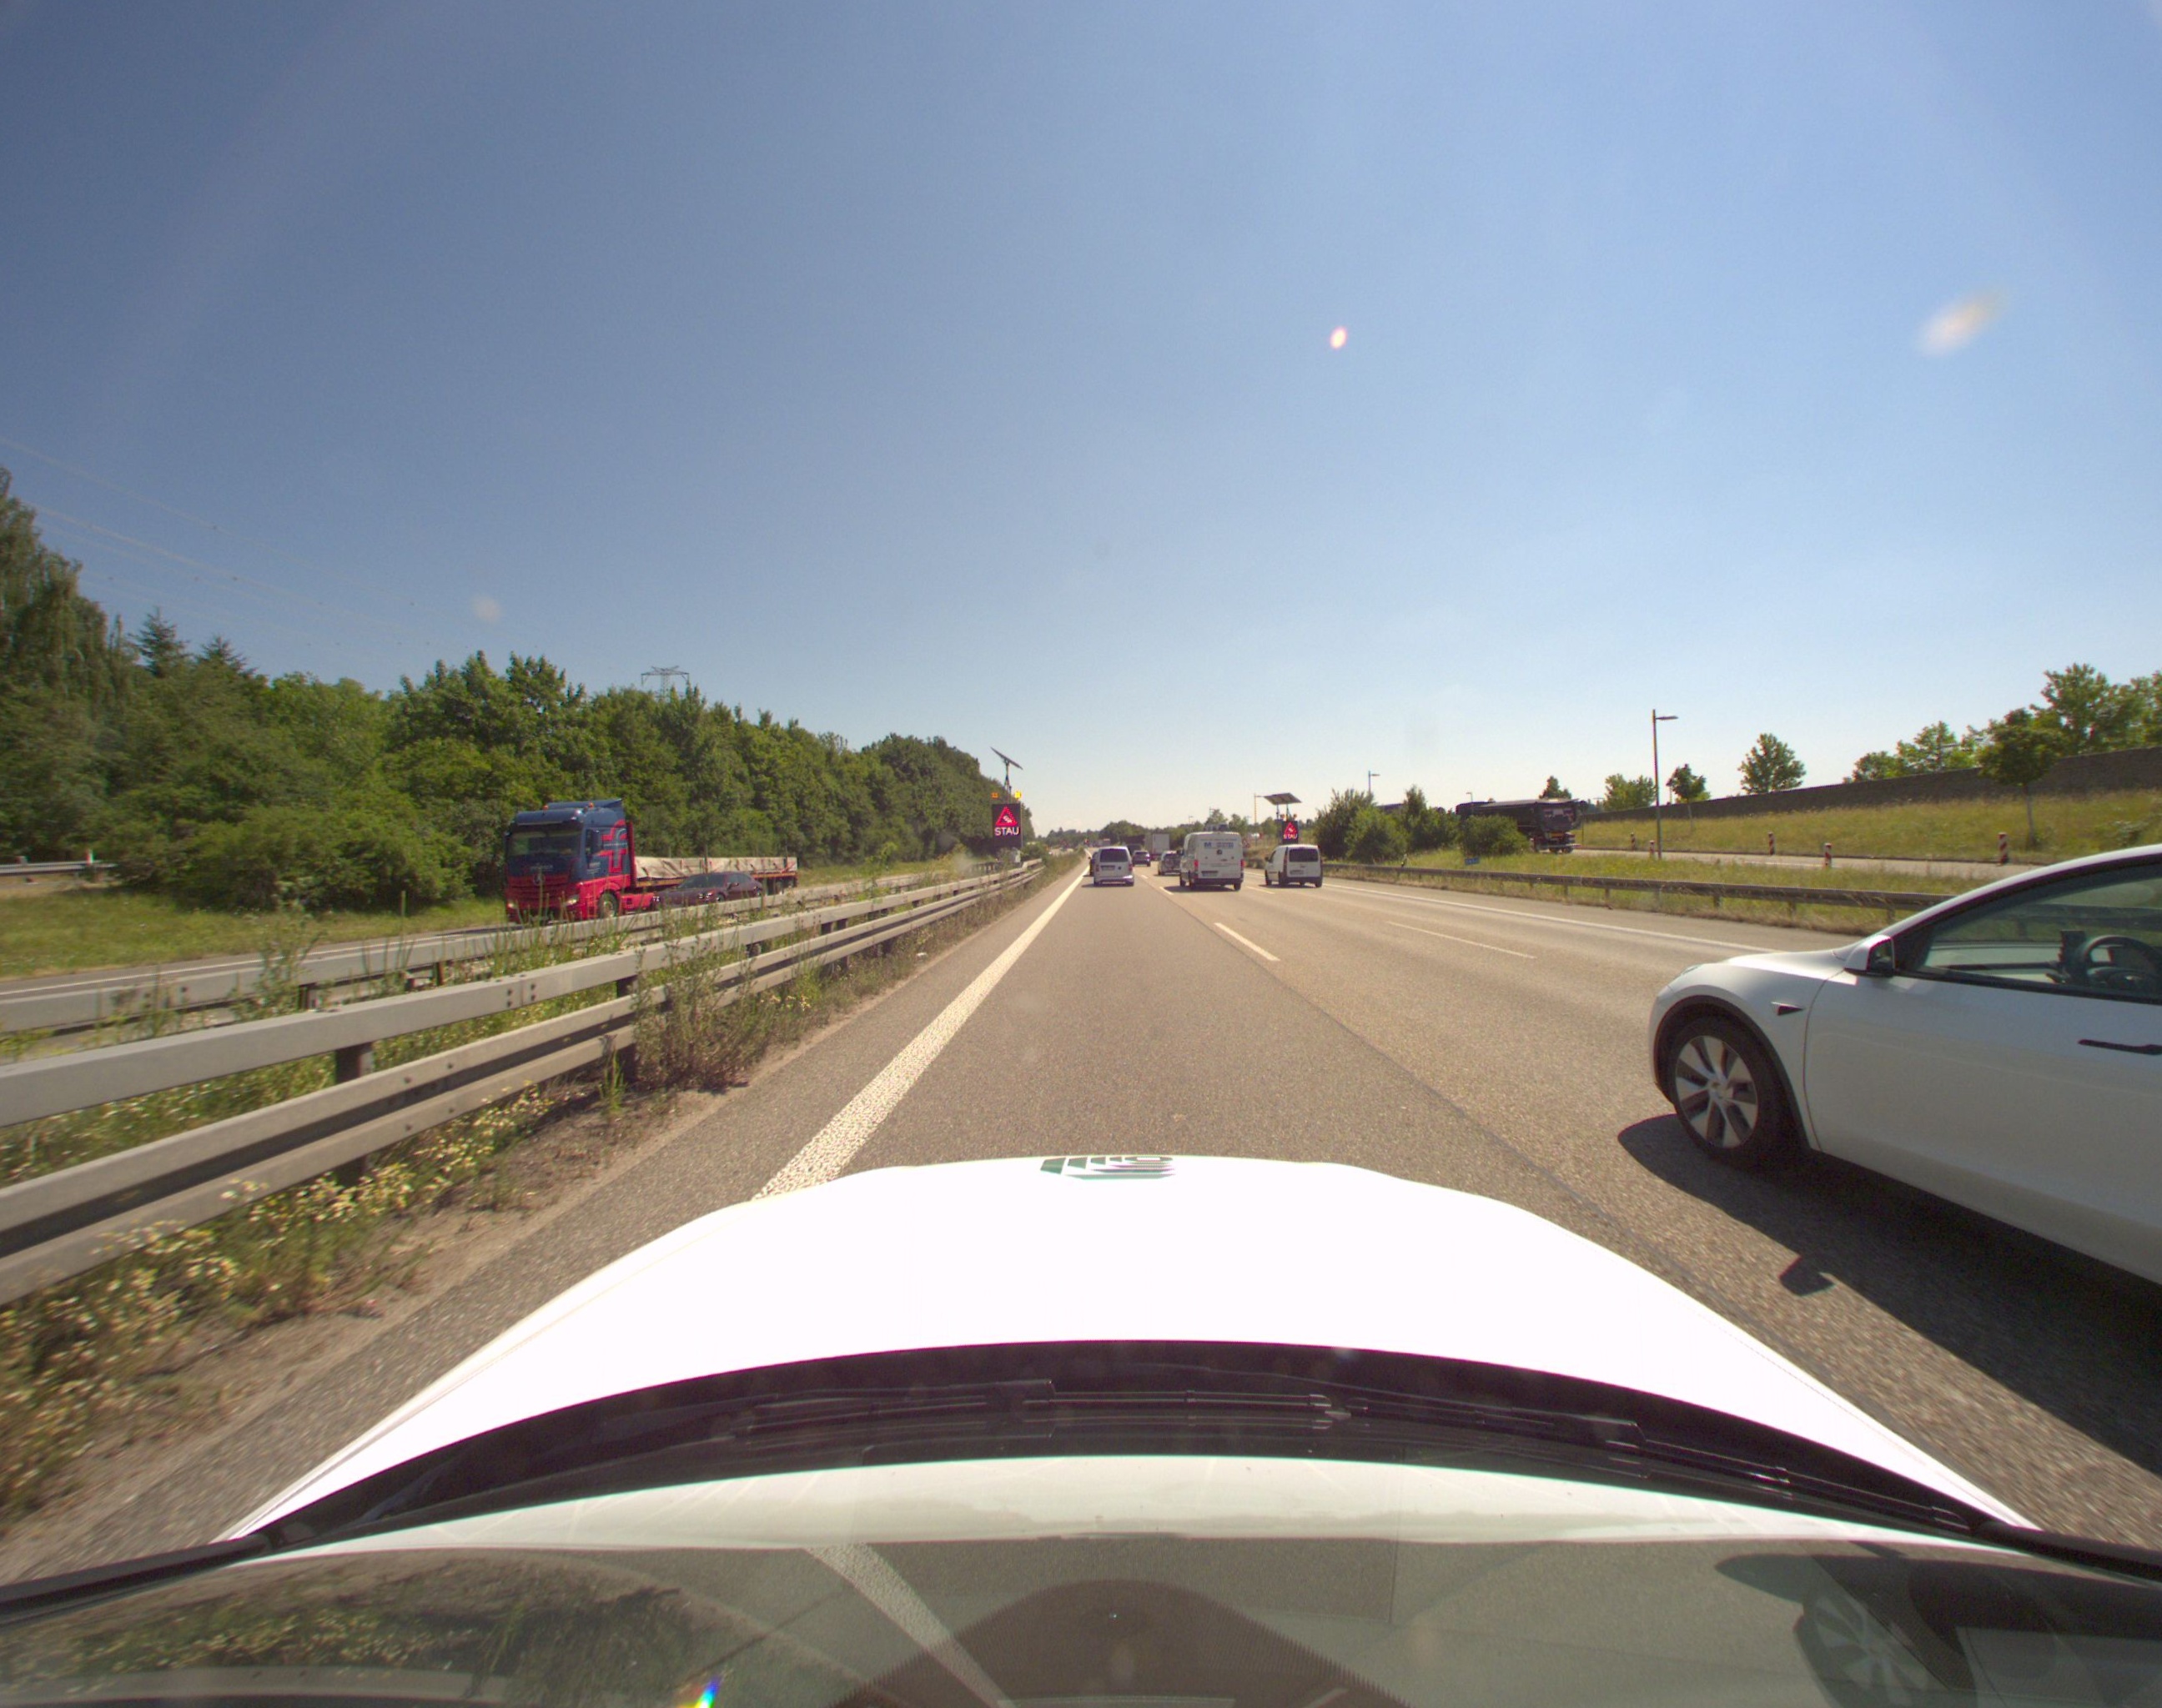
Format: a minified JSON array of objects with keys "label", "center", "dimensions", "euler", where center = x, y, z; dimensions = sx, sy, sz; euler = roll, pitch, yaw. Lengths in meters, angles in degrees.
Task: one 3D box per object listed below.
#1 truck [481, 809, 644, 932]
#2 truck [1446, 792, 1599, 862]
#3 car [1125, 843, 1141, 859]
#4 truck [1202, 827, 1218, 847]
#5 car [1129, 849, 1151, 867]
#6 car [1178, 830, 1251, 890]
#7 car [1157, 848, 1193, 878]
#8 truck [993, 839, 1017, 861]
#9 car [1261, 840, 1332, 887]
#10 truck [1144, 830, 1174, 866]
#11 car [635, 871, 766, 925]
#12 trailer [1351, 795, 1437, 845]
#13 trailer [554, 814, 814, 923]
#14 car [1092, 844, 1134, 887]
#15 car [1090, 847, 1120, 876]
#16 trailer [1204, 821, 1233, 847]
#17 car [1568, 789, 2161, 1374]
[{"label":"truck","center":[-16.174,0.483,25.658],"dimensions":[2.985,3.558,3.119],"euler":[-2,0,1]},{"label":"truck","center":[28.565,-1.553,53.761],"dimensions":[3.773,4.083,12.525],"euler":[0,0,2]},{"label":"car","center":[6.199,-0.359,97.473],"dimensions":[1.668,1.891,4.091],"euler":[-2,0,2]},{"label":"truck","center":[25.193,-3.392,159.380],"dimensions":[2.593,3.827,4.000],"euler":[0,0,1]},{"label":"car","center":[5.742,0.397,79.665],"dimensions":[1.894,1.672,4.091],"euler":[-2,0,2]},{"label":"car","center":[5.371,0.227,33.481],"dimensions":[2.174,2.254,5.363],"euler":[0,0,1]},{"label":"car","center":[5.885,0.539,51.479],"dimensions":[1.968,1.733,4.091],"euler":[-2,0,2]},{"label":"truck","center":[-13.681,-0.648,147.817],"dimensions":[2.985,3.802,10.792],"euler":[-2,0,1]},{"label":"car","center":[9.231,0.404,35.263],"dimensions":[1.944,1.838,4.178],"euler":[-2,0,0]},{"label":"truck","center":[11.455,-0.833,120.076],"dimensions":[3.773,5.000,12.526],"euler":[0,0,3]},{"label":"car","center":[-11.785,1.311,25.651],"dimensions":[1.764,1.334,4.920],"euler":[-3,0,0]},{"label":"trailer","center":[29.511,-3.031,77.847],"dimensions":[3.041,4.083,14.260],"euler":[0,0,1]},{"label":"trailer","center":[-15.938,0.483,35.290],"dimensions":[2.985,3.558,16.027],"euler":[-2,0,1]},{"label":"car","center":[1.473,0.498,37.242],"dimensions":[1.738,1.764,4.091],"euler":[-2,0,2]},{"label":"car","center":[1.530,0.440,51.340],"dimensions":[1.738,1.701,4.091],"euler":[-2,0,3]},{"label":"trailer","center":[24.995,-3.571,149.027],"dimensions":[2.596,4.258,18.424],"euler":[0,0,1]},{"label":"car","center":[3.995,0.631,2.362],"dimensions":[1.943,1.636,5.602],"euler":[0,0,2]}]
